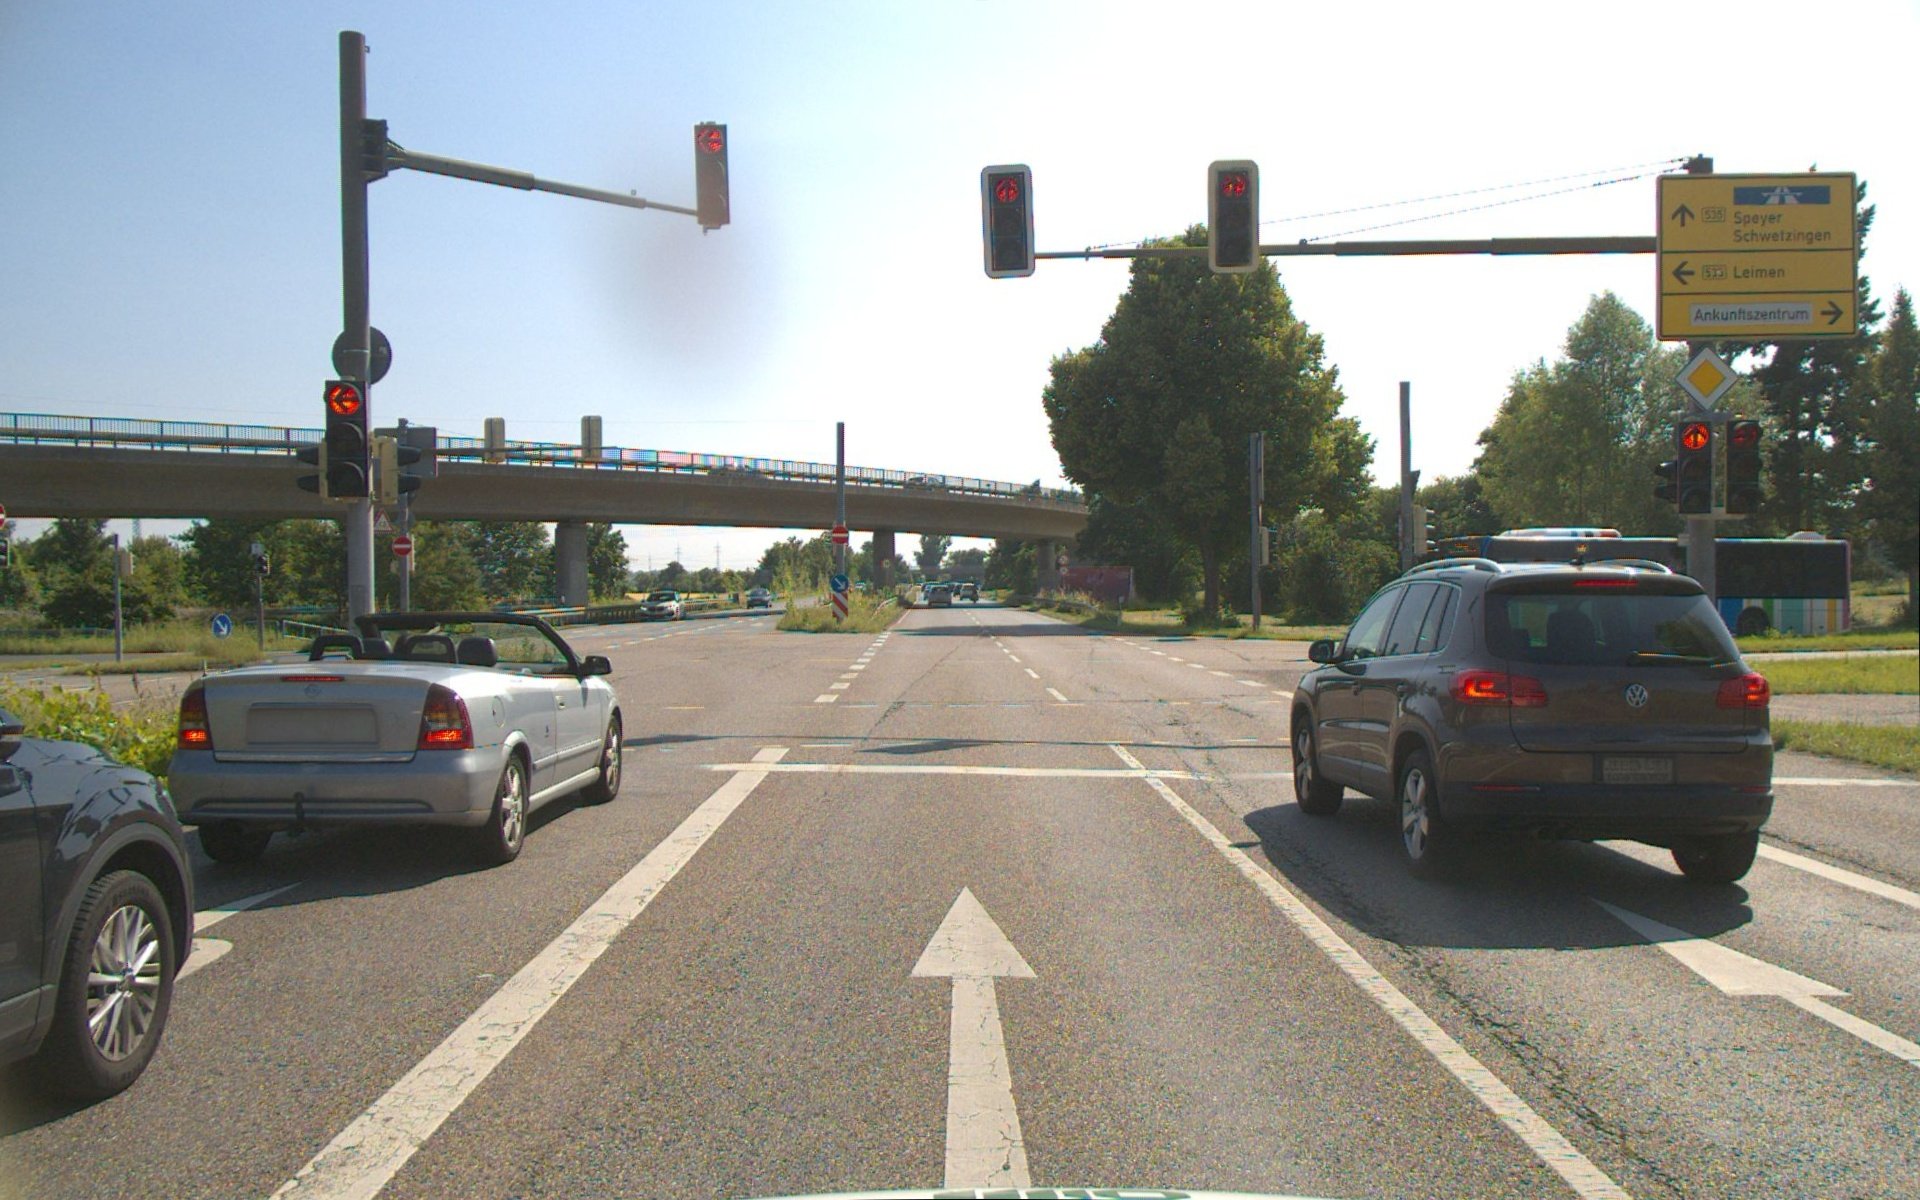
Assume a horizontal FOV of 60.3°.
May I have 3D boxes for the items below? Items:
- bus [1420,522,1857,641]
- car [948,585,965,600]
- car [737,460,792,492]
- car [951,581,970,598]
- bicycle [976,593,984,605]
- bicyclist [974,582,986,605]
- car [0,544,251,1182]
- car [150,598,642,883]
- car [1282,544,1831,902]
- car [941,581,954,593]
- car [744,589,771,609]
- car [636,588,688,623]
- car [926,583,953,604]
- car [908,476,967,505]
[{"bbox_3d":[18.572,-0.547,45.207,11.743,2.927,2.930,-1,0,-16],"label":"bus"},{"bbox_3d":[-0.489,-0.870,200.602,1.953,1.660,3.999,2,0,-1],"label":"car"},{"bbox_3d":[-10.456,-6.599,88.473,1.294,1.512,3.192,-1,1,29],"label":"car"},{"bbox_3d":[0.064,-1.070,165.658,1.835,1.668,4.000,1,1,0],"label":"car"},{"bbox_3d":[1.703,-0.121,140.882,0.588,1.000,2.361,-1,0,0],"label":"bicycle"},{"bbox_3d":[1.677,-0.582,141.110,0.986,1.919,1.327,-1,0,0],"label":"bicyclist"},{"bbox_3d":[-3.212,0.655,3.478,1.693,1.574,4.098,0,1,0],"label":"car"},{"bbox_3d":[-3.163,0.688,10.180,1.639,1.358,4.098,0,1,0],"label":"car"},{"bbox_3d":[3.260,0.578,9.986,1.720,1.684,4.145,1,0,-1],"label":"car"},{"bbox_3d":[-2.007,-2.048,259.287,1.953,1.684,3.999,2,0,0],"label":"car"},{"bbox_3d":[-15.562,-0.086,127.256,1.582,1.467,3.776,-3,0,-1],"label":"car"},{"bbox_3d":[-14.660,0.256,81.568,1.845,1.541,4.147,-3,0,-2],"label":"car"},{"bbox_3d":[-1.472,-0.501,119.163,1.813,1.486,4.000,1,1,1],"label":"car"},{"bbox_3d":[-1.406,-6.948,105.203,1.956,1.512,3.993,2,0,29],"label":"car"}]
